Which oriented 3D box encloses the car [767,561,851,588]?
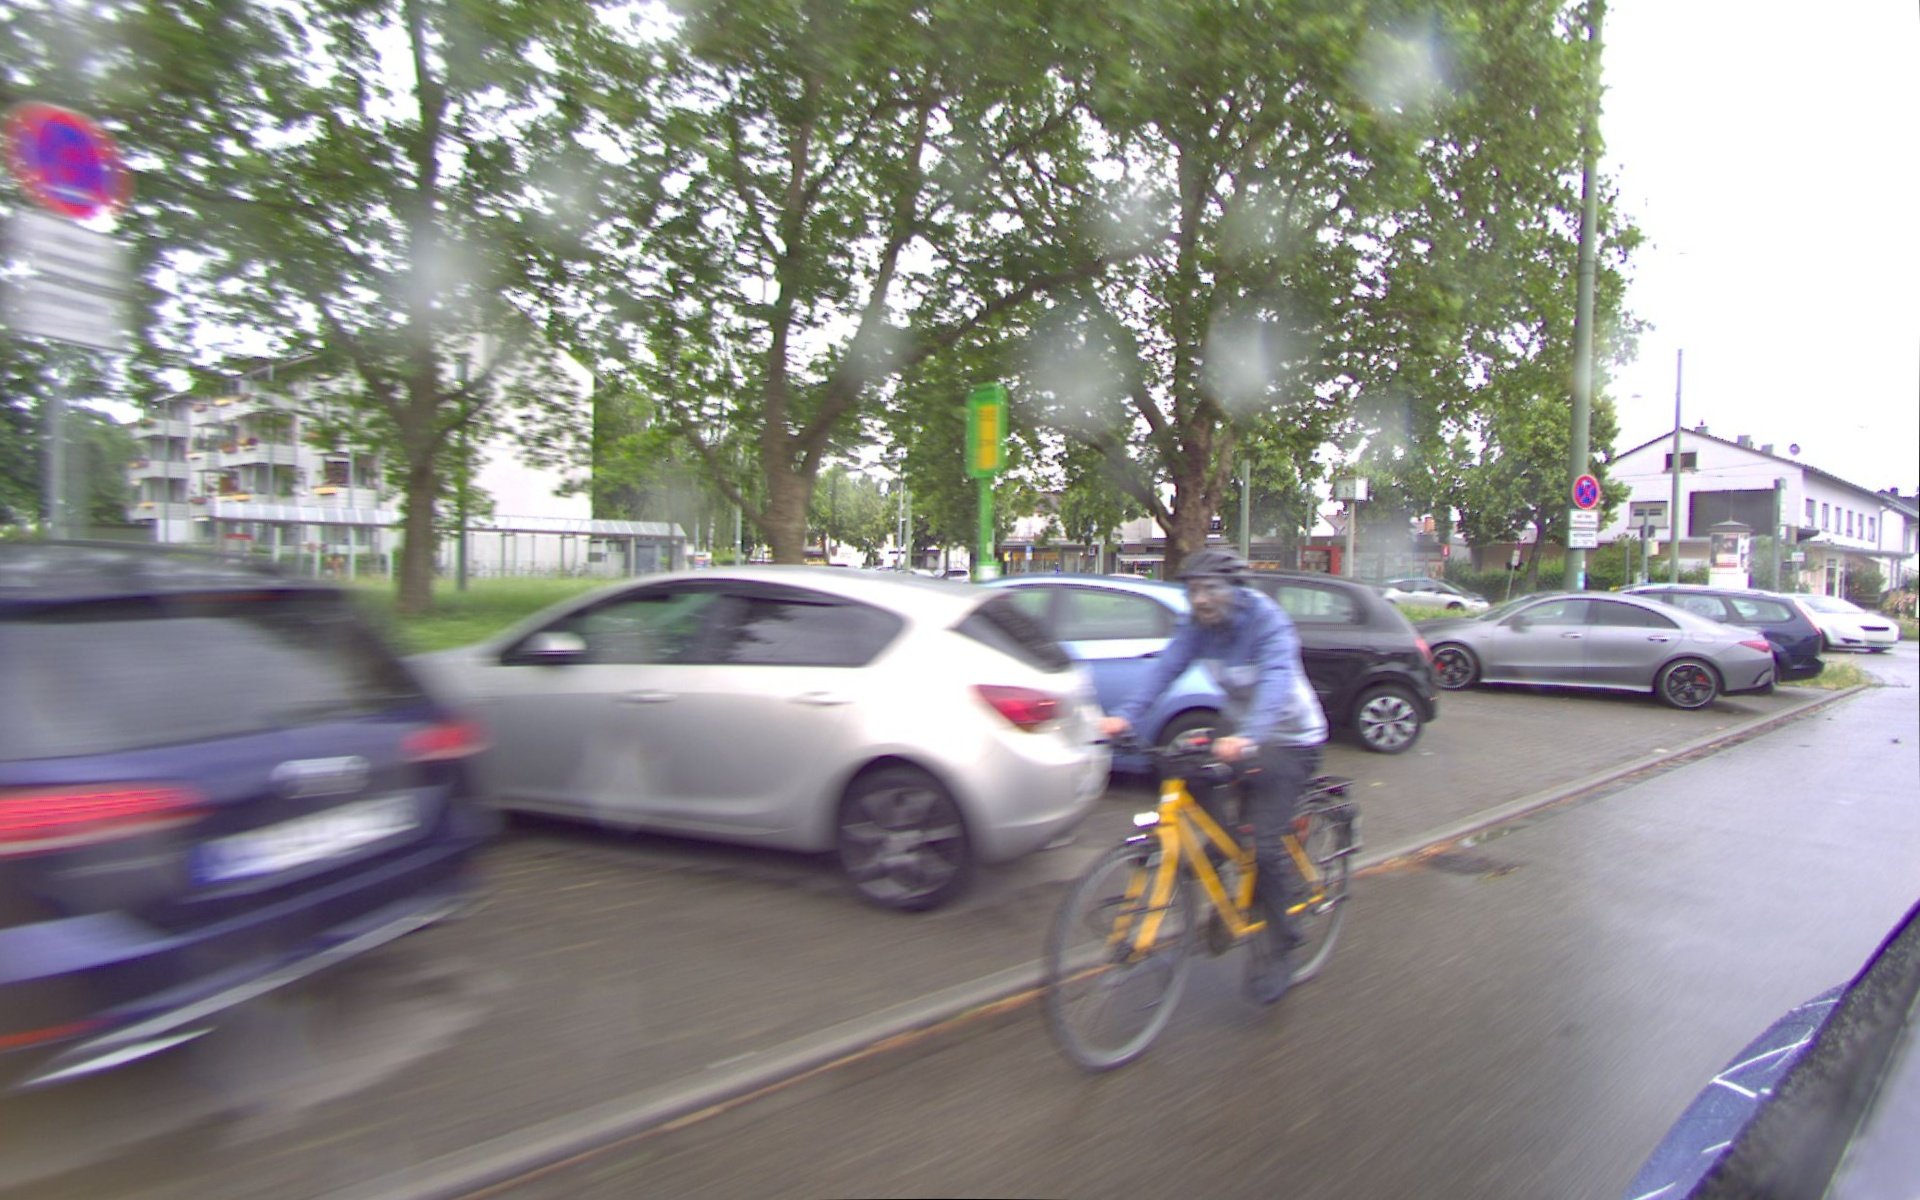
[{"bbox_3d":[-9.354,-1.585,62.852,4.753,1.476,1.999,2,1,-38],"label":"car"}]

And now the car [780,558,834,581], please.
[{"bbox_3d":[-13.686,-2.762,90.713,4.470,1.967,1.897,-2,3,-40],"label":"car"}]

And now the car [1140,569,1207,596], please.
[{"bbox_3d":[12.608,-1.059,59.779,3.598,1.521,1.534,2,4,34],"label":"car"}]

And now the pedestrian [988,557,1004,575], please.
[{"bbox_3d":[3.210,-3.050,90.175,1.058,1.603,0.950,1,2,-28],"label":"pedestrian"}]

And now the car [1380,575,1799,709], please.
[{"bbox_3d":[8.189,0.467,13.721,4.495,1.494,1.792,2,2,21],"label":"car"}]

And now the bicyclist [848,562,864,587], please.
[{"bbox_3d":[-6.359,-1.556,61.953,0.719,1.535,0.691,0,1,33],"label":"bicyclist"}]

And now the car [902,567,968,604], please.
[{"bbox_3d":[-1.550,-0.936,61.311,1.964,2.038,3.998,-3,4,-38],"label":"car"}]

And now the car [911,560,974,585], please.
[{"bbox_3d":[-1.213,-2.008,73.010,4.262,1.694,1.998,-2,3,-40],"label":"car"}]

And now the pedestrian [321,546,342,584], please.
[{"bbox_3d":[-26.583,-1.476,42.821,0.625,1.591,0.789,-2,3,-40],"label":"pedestrian"}]

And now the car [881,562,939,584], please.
[{"bbox_3d":[-3.749,-2.035,76.414,4.020,1.590,1.998,-2,3,-40],"label":"car"}]

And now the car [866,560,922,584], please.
[{"bbox_3d":[-5.139,-2.199,78.689,4.020,1.730,1.897,-2,3,-40],"label":"car"}]

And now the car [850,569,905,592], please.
[{"bbox_3d":[-6.538,-1.569,80.658,4.020,1.730,1.897,-2,3,-40],"label":"car"}]

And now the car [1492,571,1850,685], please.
[{"bbox_3d":[10.684,0.347,15.601,4.125,1.494,1.793,2,2,20],"label":"car"}]

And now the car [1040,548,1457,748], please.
[{"bbox_3d":[2.658,0.340,9.785,3.466,1.524,1.748,3,4,14],"label":"car"}]

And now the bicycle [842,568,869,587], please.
[{"bbox_3d":[-6.406,-1.406,61.886,0.723,1.144,1.734,1,1,32],"label":"bicycle"}]

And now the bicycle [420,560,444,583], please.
[{"bbox_3d":[-23.359,-1.264,44.777,1.300,0.959,0.412,2,3,36],"label":"bicycle"}]

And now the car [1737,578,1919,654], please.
[{"bbox_3d":[22.299,0.335,25.971,1.931,1.571,3.993,2,4,8],"label":"car"}]

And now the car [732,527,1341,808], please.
[{"bbox_3d":[0.533,0.345,7.558,3.937,1.518,1.820,4,4,10],"label":"car"}]

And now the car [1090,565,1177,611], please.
[{"bbox_3d":[8.546,-0.636,50.015,1.964,2.038,3.998,-3,4,-38],"label":"car"}]

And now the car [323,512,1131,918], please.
[{"bbox_3d":[-1.170,0.371,5.630,3.946,1.571,1.952,3,4,17],"label":"car"}]

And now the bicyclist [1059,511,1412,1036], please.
[{"bbox_3d":[0.924,0.492,3.442,0.830,1.504,0.753,2,1,-34],"label":"bicyclist"}]

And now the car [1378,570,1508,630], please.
[{"bbox_3d":[18.285,-0.075,38.462,1.965,2.038,3.997,-3,4,-39],"label":"car"}]

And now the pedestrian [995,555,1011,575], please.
[{"bbox_3d":[3.755,-3.061,89.049,1.058,1.735,0.949,1,2,-28],"label":"pedestrian"}]

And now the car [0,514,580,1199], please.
[{"bbox_3d":[-3.615,0.449,3.469,4.069,1.498,1.856,4,3,18],"label":"car"}]

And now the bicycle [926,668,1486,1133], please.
[{"bbox_3d":[0.897,0.826,3.437,1.890,1.086,0.755,1,1,-35],"label":"bicycle"}]
